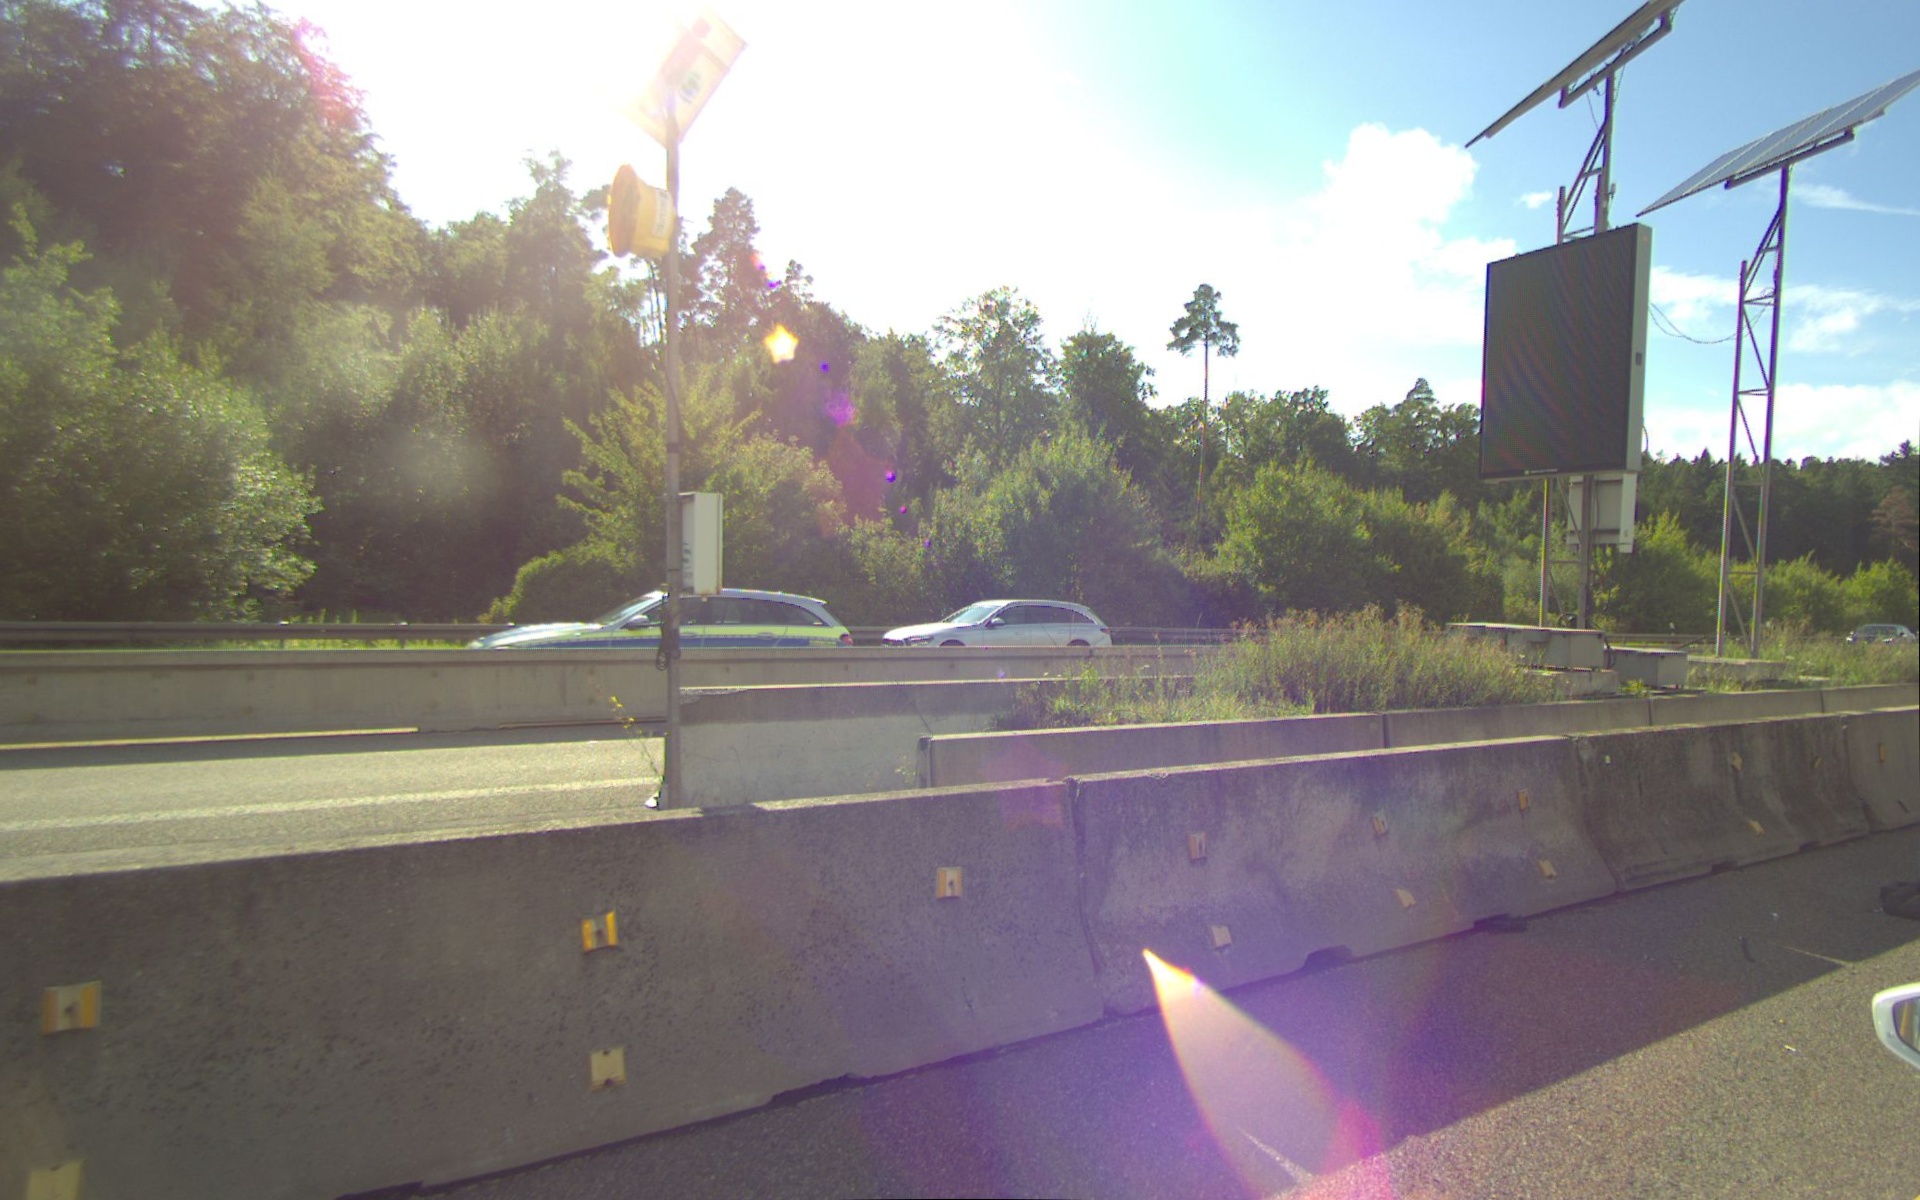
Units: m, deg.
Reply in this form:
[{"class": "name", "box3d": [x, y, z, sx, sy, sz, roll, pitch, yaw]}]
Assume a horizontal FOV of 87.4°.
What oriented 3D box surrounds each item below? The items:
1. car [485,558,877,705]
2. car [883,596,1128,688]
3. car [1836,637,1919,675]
[{"class": "car", "box3d": [-3.552, 0.392, 13.131, 4.624, 1.624, 1.768, 2, 0, -32]}, {"class": "car", "box3d": [0.941, 0.808, 19.959, 4.619, 1.624, 1.770, 2, 0, -29]}, {"class": "car", "box3d": [43.268, 2.620, 47.288, 4.624, 1.624, 1.768, 2, 0, -32]}]
